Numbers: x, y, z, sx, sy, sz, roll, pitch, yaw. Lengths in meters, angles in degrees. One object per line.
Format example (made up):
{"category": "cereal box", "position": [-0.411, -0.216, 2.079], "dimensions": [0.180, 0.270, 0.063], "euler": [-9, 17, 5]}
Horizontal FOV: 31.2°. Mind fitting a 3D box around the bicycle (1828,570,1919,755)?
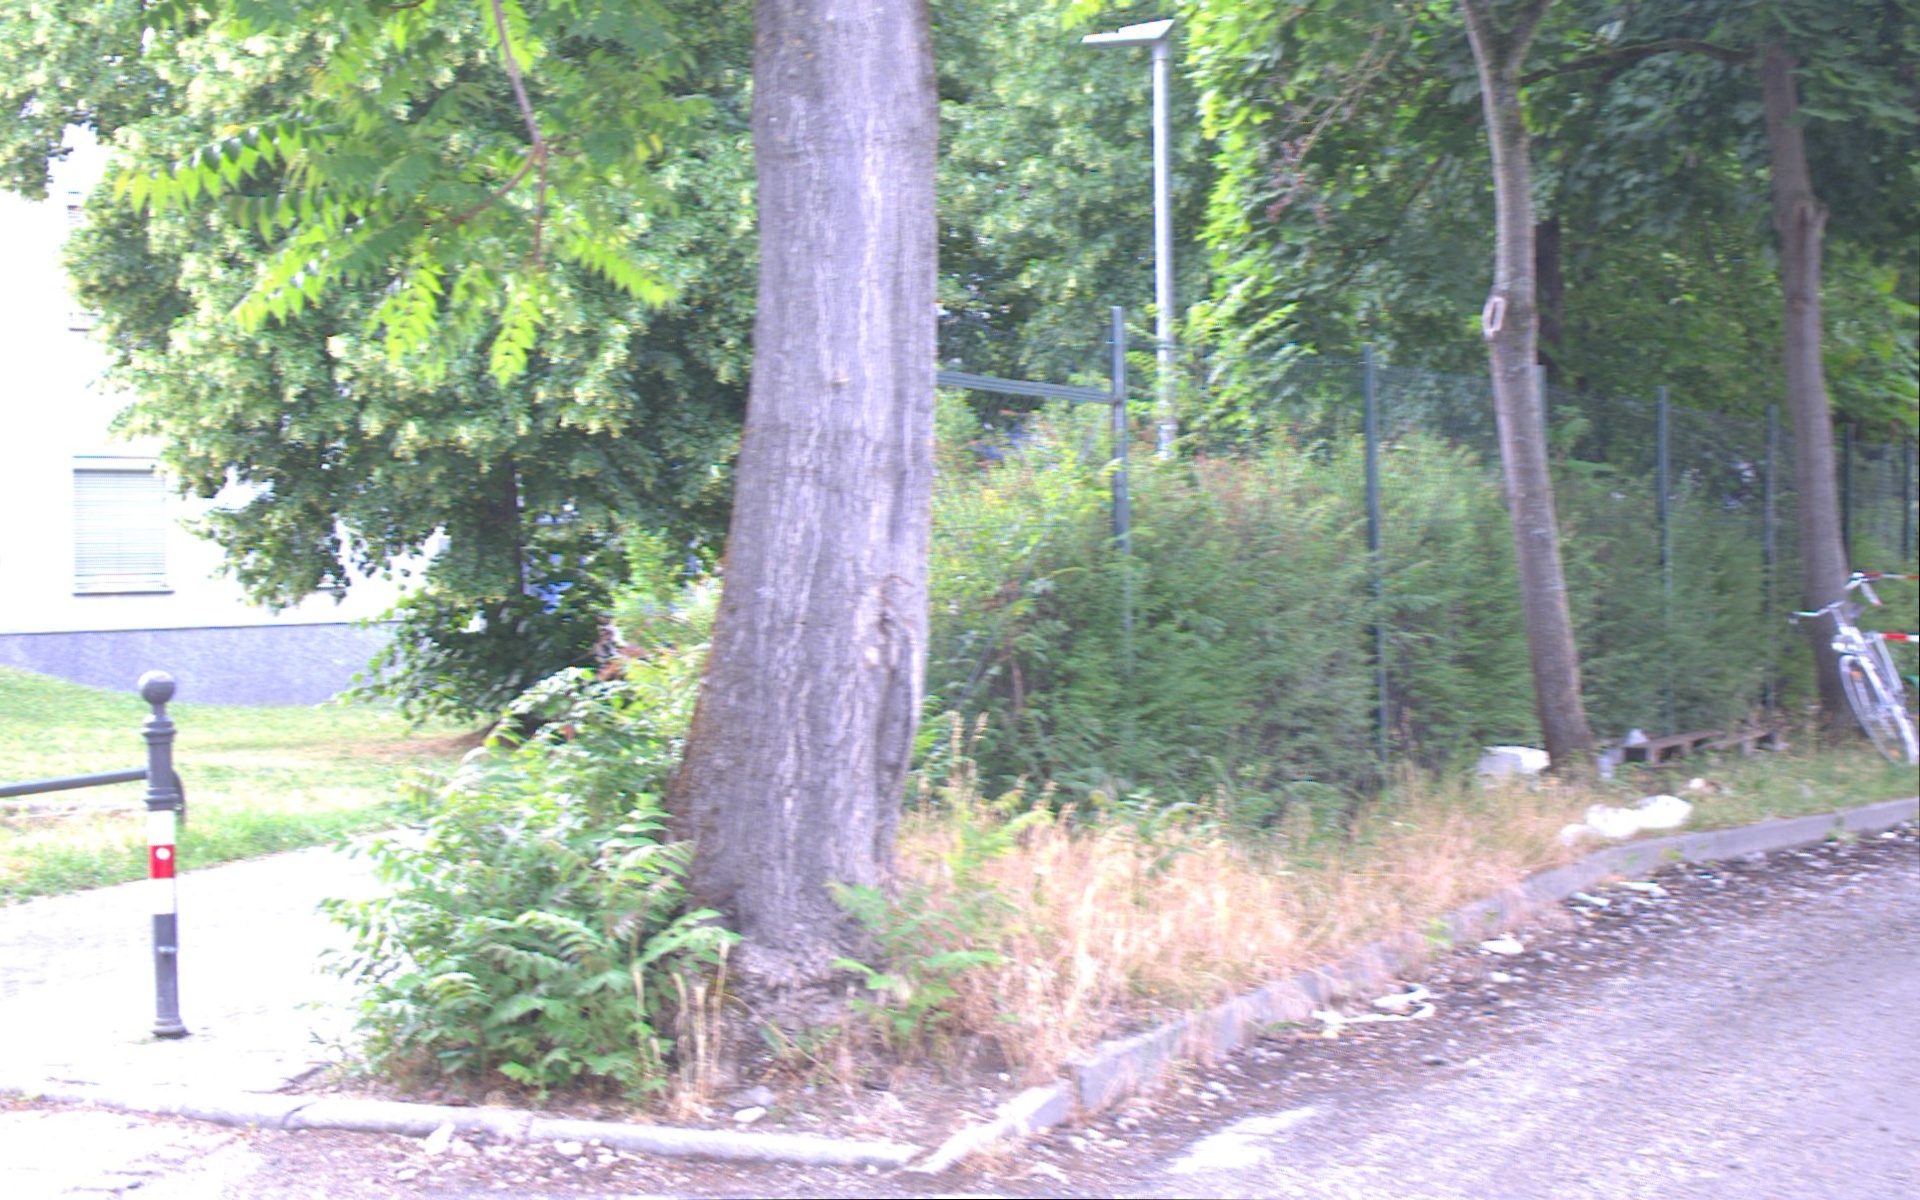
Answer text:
{"category": "bicycle", "position": [4.958, 0.317, 18.308], "dimensions": [0.419, 0.902, 1.152], "euler": [6, 3, 22]}
